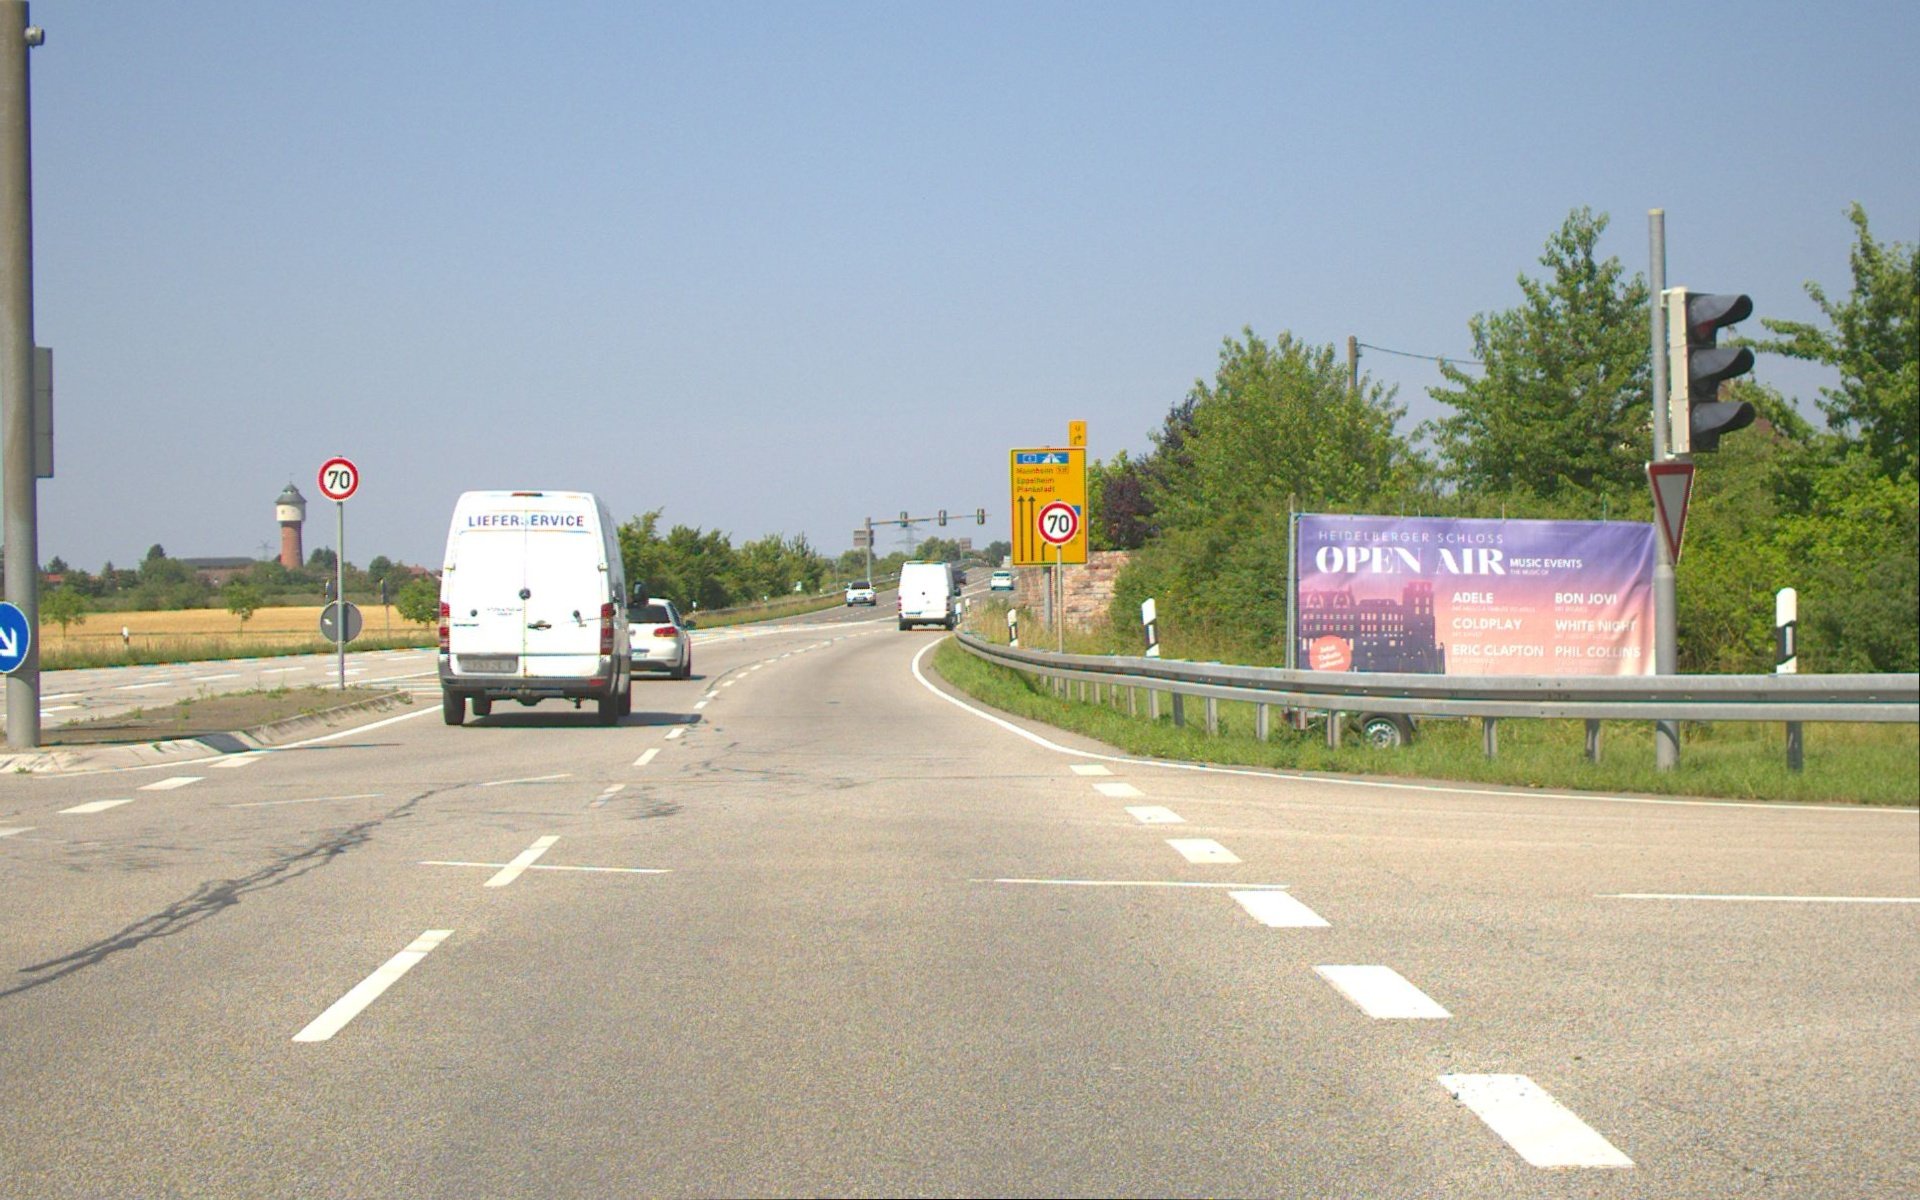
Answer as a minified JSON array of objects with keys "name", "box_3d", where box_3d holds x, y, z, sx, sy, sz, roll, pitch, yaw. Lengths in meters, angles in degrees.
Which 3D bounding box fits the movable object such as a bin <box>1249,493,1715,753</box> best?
[{"name":"movable object such as a bin","box_3d":[4.847,0.220,32.105,4.093,2.323,1.278,1,0,-5]}]

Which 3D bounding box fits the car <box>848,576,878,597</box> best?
[{"name":"car","box_3d":[-6.612,-0.925,235.635,1.749,1.437,4.081,-1,0,3]}]

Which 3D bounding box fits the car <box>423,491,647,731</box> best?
[{"name":"car","box_3d":[-4.926,0.107,40.580,2.039,2.611,5.741,-1,0,-1]}]

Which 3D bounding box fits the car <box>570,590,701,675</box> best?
[{"name":"car","box_3d":[-5.899,0.566,62.954,1.799,1.503,4.195,0,0,3]}]

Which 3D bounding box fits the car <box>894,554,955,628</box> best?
[{"name":"car","box_3d":[-1.326,-0.307,130.348,1.994,2.686,4.969,1,-1,3]}]
